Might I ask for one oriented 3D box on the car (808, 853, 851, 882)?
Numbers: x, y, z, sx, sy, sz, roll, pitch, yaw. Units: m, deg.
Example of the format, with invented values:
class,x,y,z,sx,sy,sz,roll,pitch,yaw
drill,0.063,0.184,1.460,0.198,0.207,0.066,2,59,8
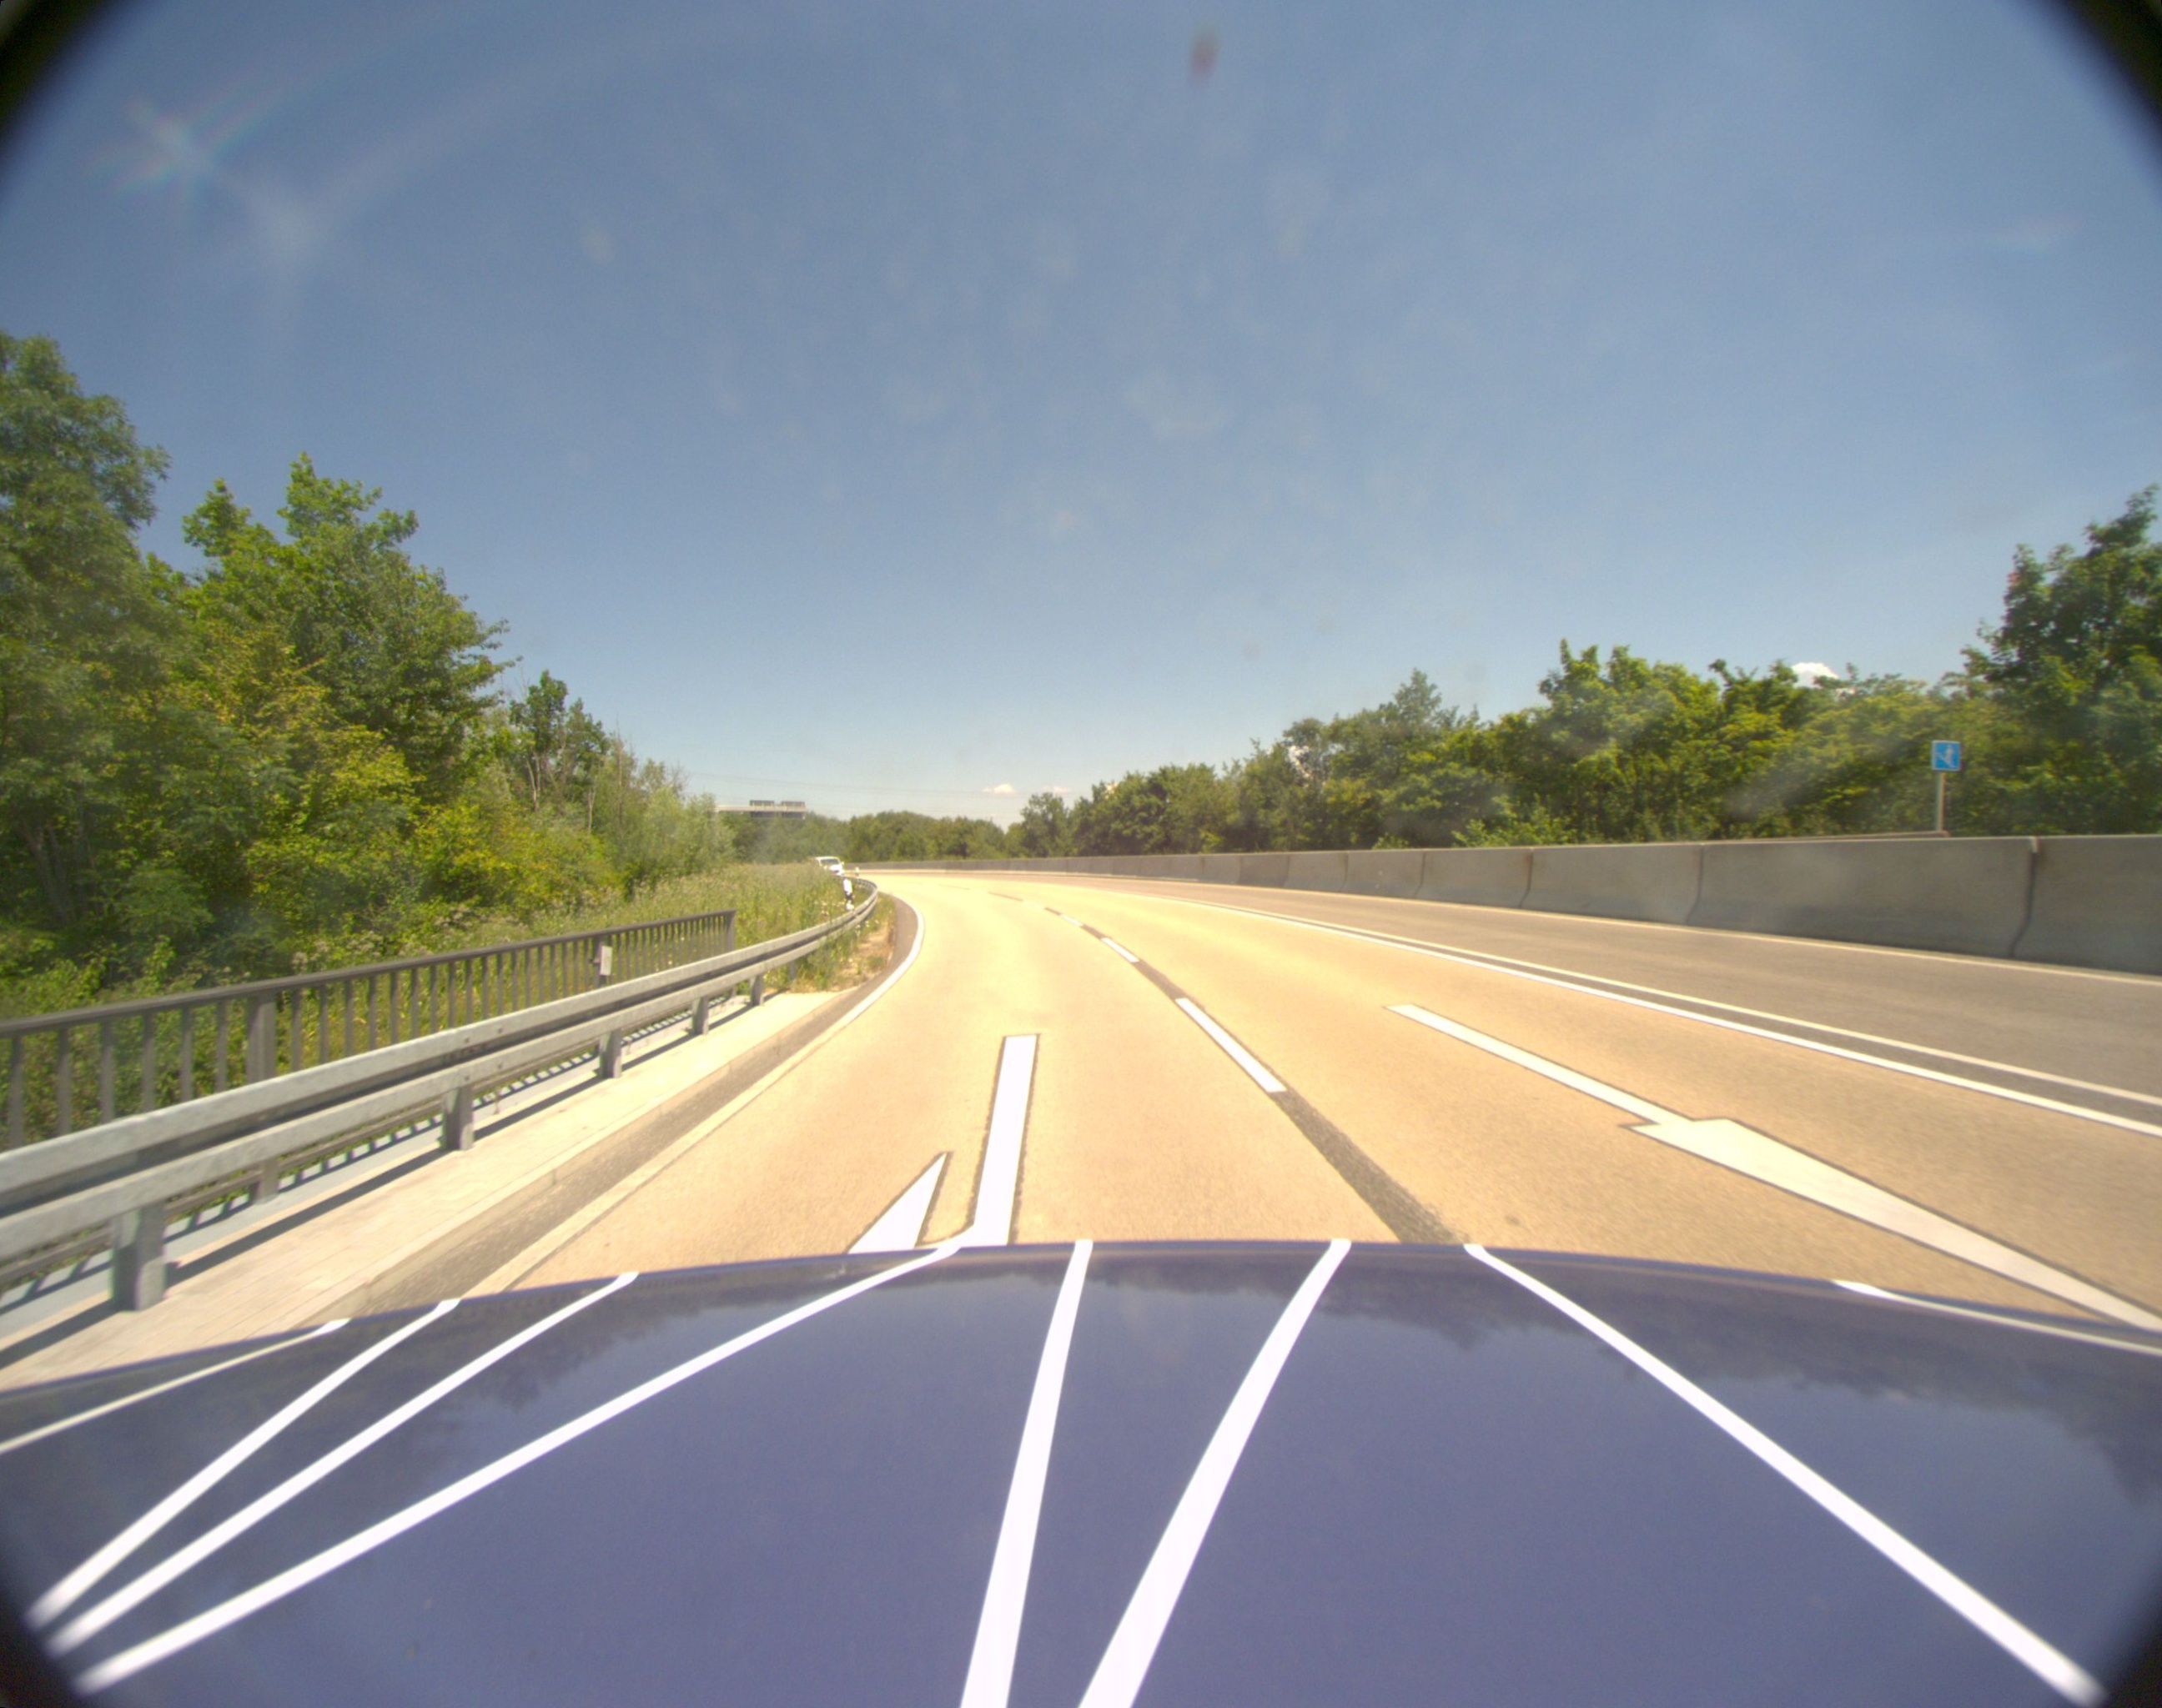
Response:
class,x,y,z,sx,sy,sz,roll,pitch,yaw
car,-21.452,1.105,64.626,2.035,2.074,5.855,-4,4,-32
